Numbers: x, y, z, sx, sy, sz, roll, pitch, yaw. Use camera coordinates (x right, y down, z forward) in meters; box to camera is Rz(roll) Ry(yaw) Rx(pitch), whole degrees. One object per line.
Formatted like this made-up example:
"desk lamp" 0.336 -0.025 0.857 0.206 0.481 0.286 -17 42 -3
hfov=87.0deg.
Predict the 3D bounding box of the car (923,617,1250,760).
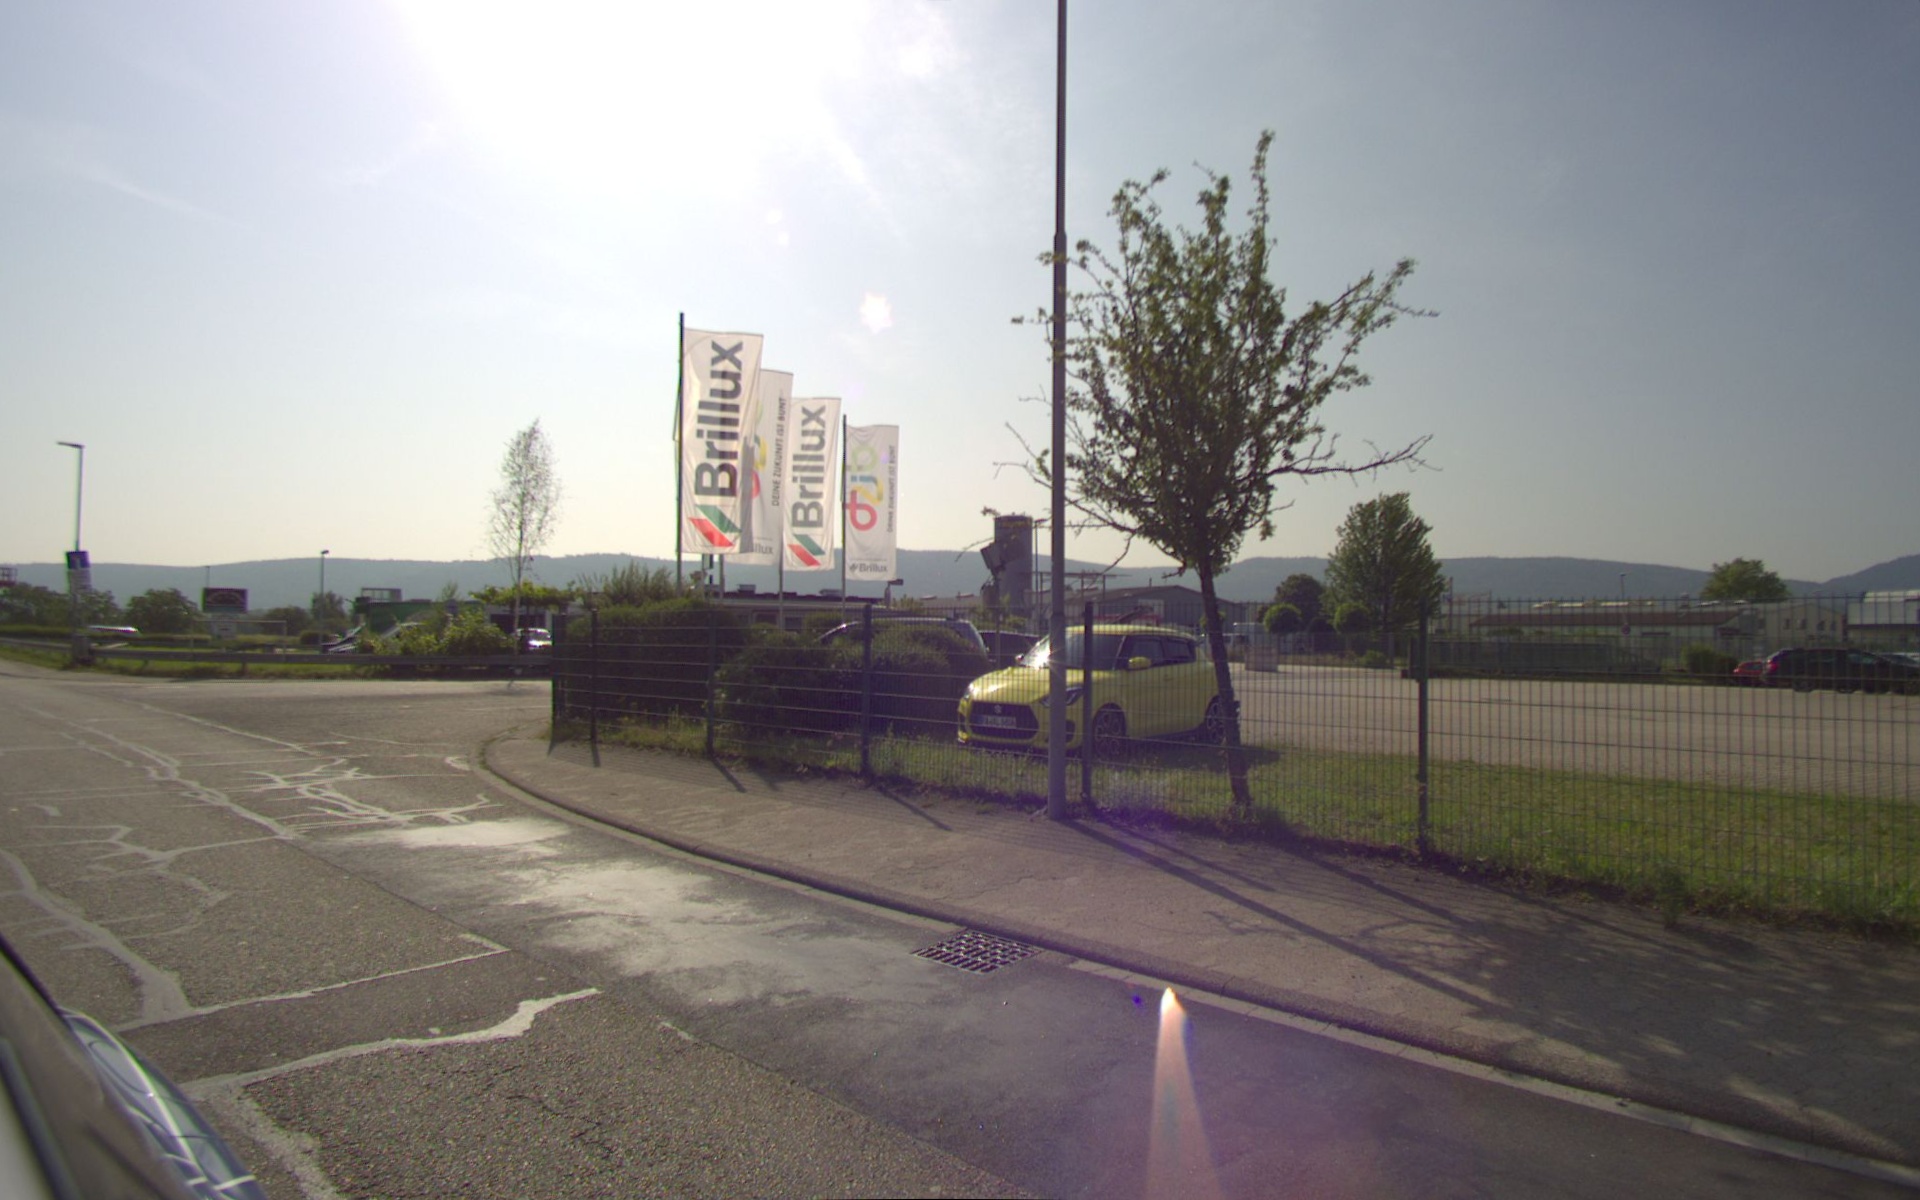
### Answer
"car" 1.652 0.947 11.984 1.868 1.379 4.120 -1 -3 41

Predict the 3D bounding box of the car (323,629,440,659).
"car" -28.560 2.203 50.093 4.882 1.328 1.784 3 -5 -30

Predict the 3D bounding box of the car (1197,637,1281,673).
"car" 14.388 2.814 52.373 1.826 1.763 4.010 2 -3 -34

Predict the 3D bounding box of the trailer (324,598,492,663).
"trailer" -24.662 1.412 45.314 6.222 2.625 2.861 4 -4 -35

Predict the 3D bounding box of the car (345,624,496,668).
"car" -22.565 1.969 42.446 5.199 1.719 2.002 4 -4 -43

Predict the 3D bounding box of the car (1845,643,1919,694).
"car" 33.768 2.384 34.697 5.058 1.715 1.973 -1 -4 40

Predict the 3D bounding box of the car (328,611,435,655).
"car" -34.389 2.031 60.263 5.314 2.391 2.300 3 -5 -30

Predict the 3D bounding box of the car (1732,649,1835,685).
"car" 42.037 3.398 51.696 3.998 1.719 1.767 -1 -3 41

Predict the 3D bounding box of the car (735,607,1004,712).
"car" -1.488 1.000 17.793 4.454 1.708 1.955 0 0 5

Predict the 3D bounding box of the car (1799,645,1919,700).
"car" 30.817 2.380 33.194 5.058 1.715 1.973 -1 -4 40

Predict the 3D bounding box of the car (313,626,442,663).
"car" -27.087 2.123 47.214 5.055 1.546 2.184 3 -5 -30

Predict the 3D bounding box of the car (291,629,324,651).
"car" -63.148 3.849 97.913 1.969 2.029 4.163 4 -4 -41

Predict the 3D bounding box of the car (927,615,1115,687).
"car" 1.660 1.365 27.196 4.584 1.765 2.158 2 -3 -28

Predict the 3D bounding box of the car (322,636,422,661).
"car" -32.108 2.659 55.328 4.616 1.228 1.836 3 -5 -30

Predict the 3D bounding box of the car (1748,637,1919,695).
"car" 28.065 2.052 31.906 5.055 1.715 1.974 -1 -4 38

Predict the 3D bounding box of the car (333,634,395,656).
"car" -42.845 3.236 72.784 3.628 1.533 1.688 4 -4 -38
